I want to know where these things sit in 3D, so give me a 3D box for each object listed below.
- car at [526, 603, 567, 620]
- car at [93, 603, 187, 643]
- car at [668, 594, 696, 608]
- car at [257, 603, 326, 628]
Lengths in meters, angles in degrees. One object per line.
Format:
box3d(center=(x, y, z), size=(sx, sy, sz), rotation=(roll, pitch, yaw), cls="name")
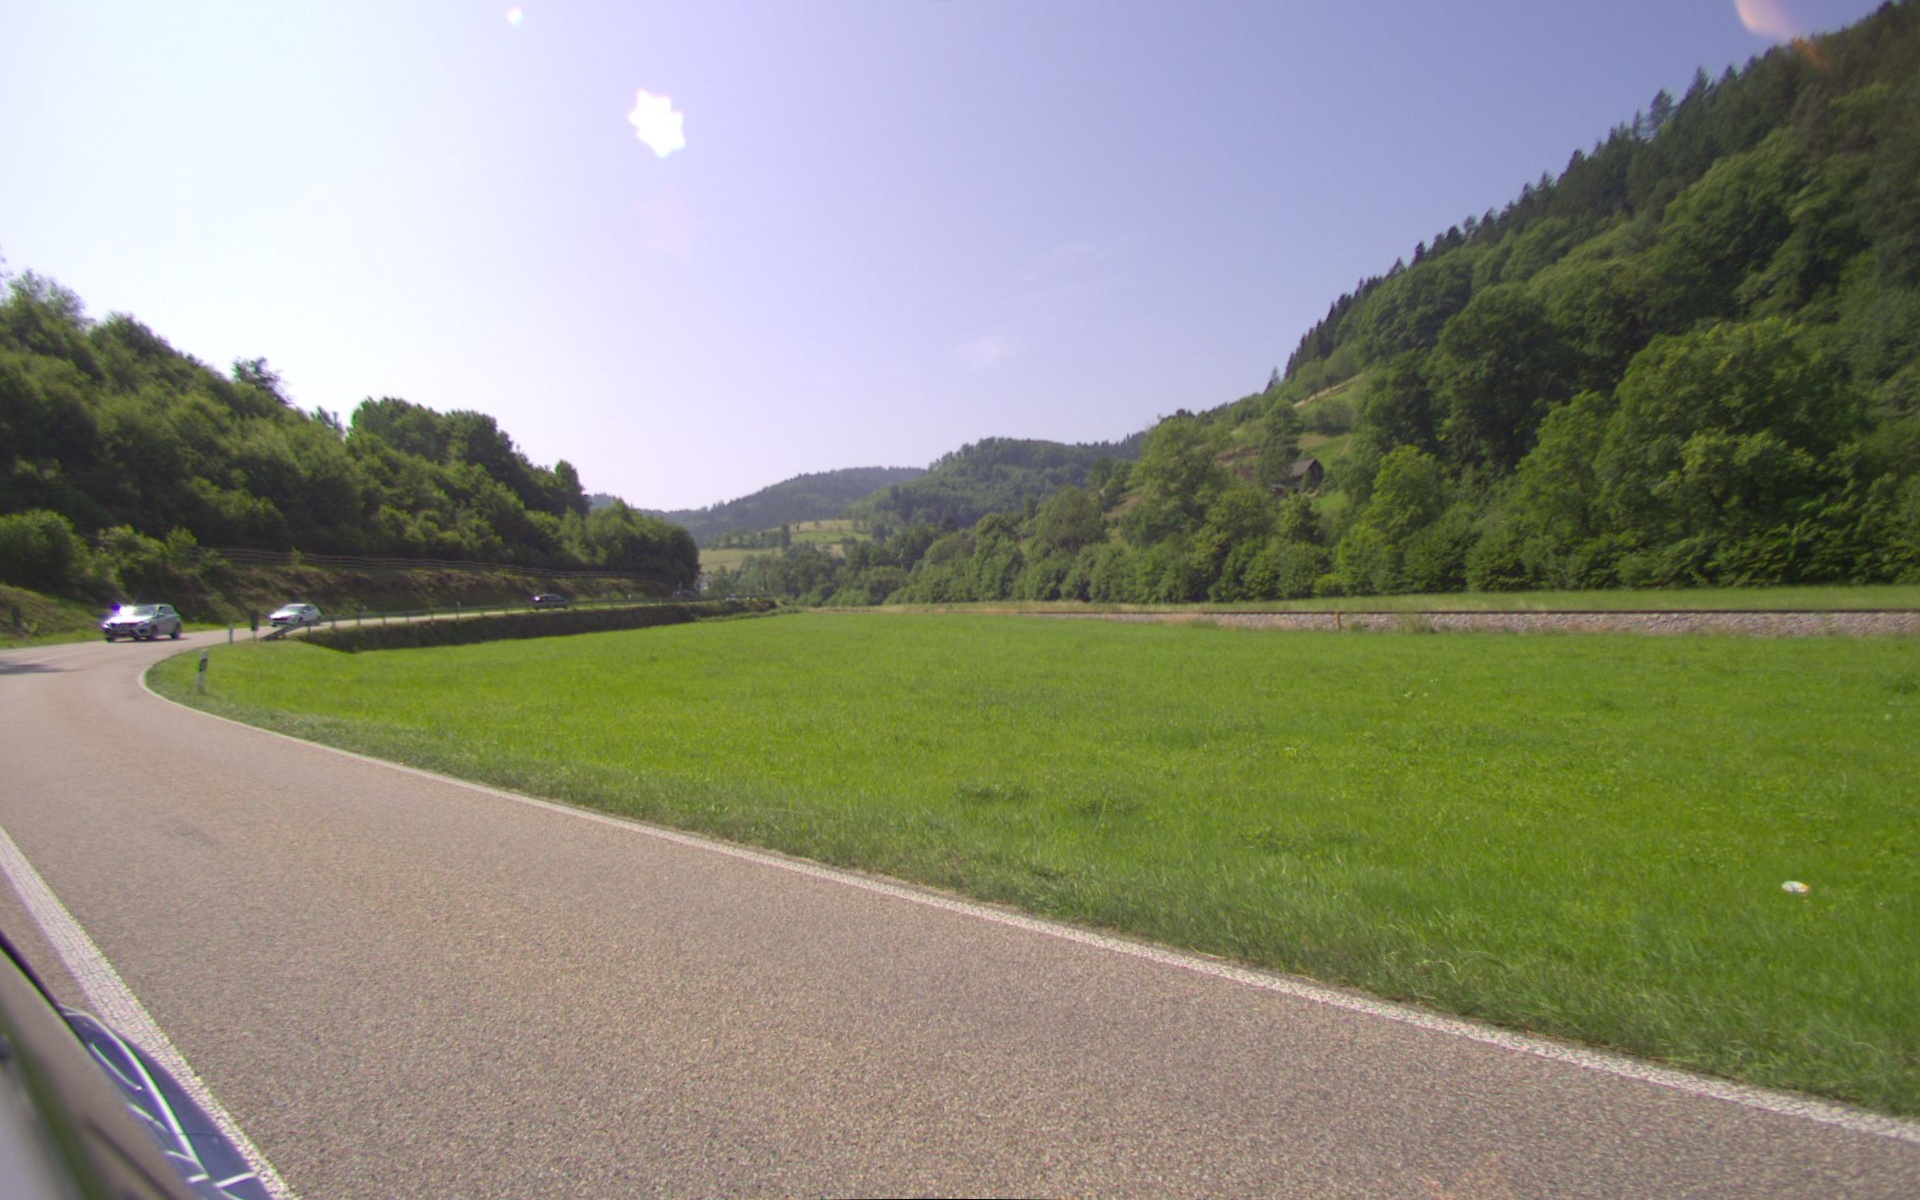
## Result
box3d(center=(-41.530, 1.144, 101.770), size=(1.859, 1.599, 4.586), rotation=(-2, -1, 6), cls="car")
box3d(center=(-40.610, 1.151, 50.265), size=(2.083, 1.828, 4.468), rotation=(-2, -1, -17), cls="car")
box3d(center=(-36.513, 0.179, 132.952), size=(1.932, 1.753, 4.886), rotation=(-1, -1, 7), cls="car")
box3d(center=(-44.689, 1.041, 67.795), size=(2.113, 1.502, 4.681), rotation=(-1, -1, -9), cls="car")
